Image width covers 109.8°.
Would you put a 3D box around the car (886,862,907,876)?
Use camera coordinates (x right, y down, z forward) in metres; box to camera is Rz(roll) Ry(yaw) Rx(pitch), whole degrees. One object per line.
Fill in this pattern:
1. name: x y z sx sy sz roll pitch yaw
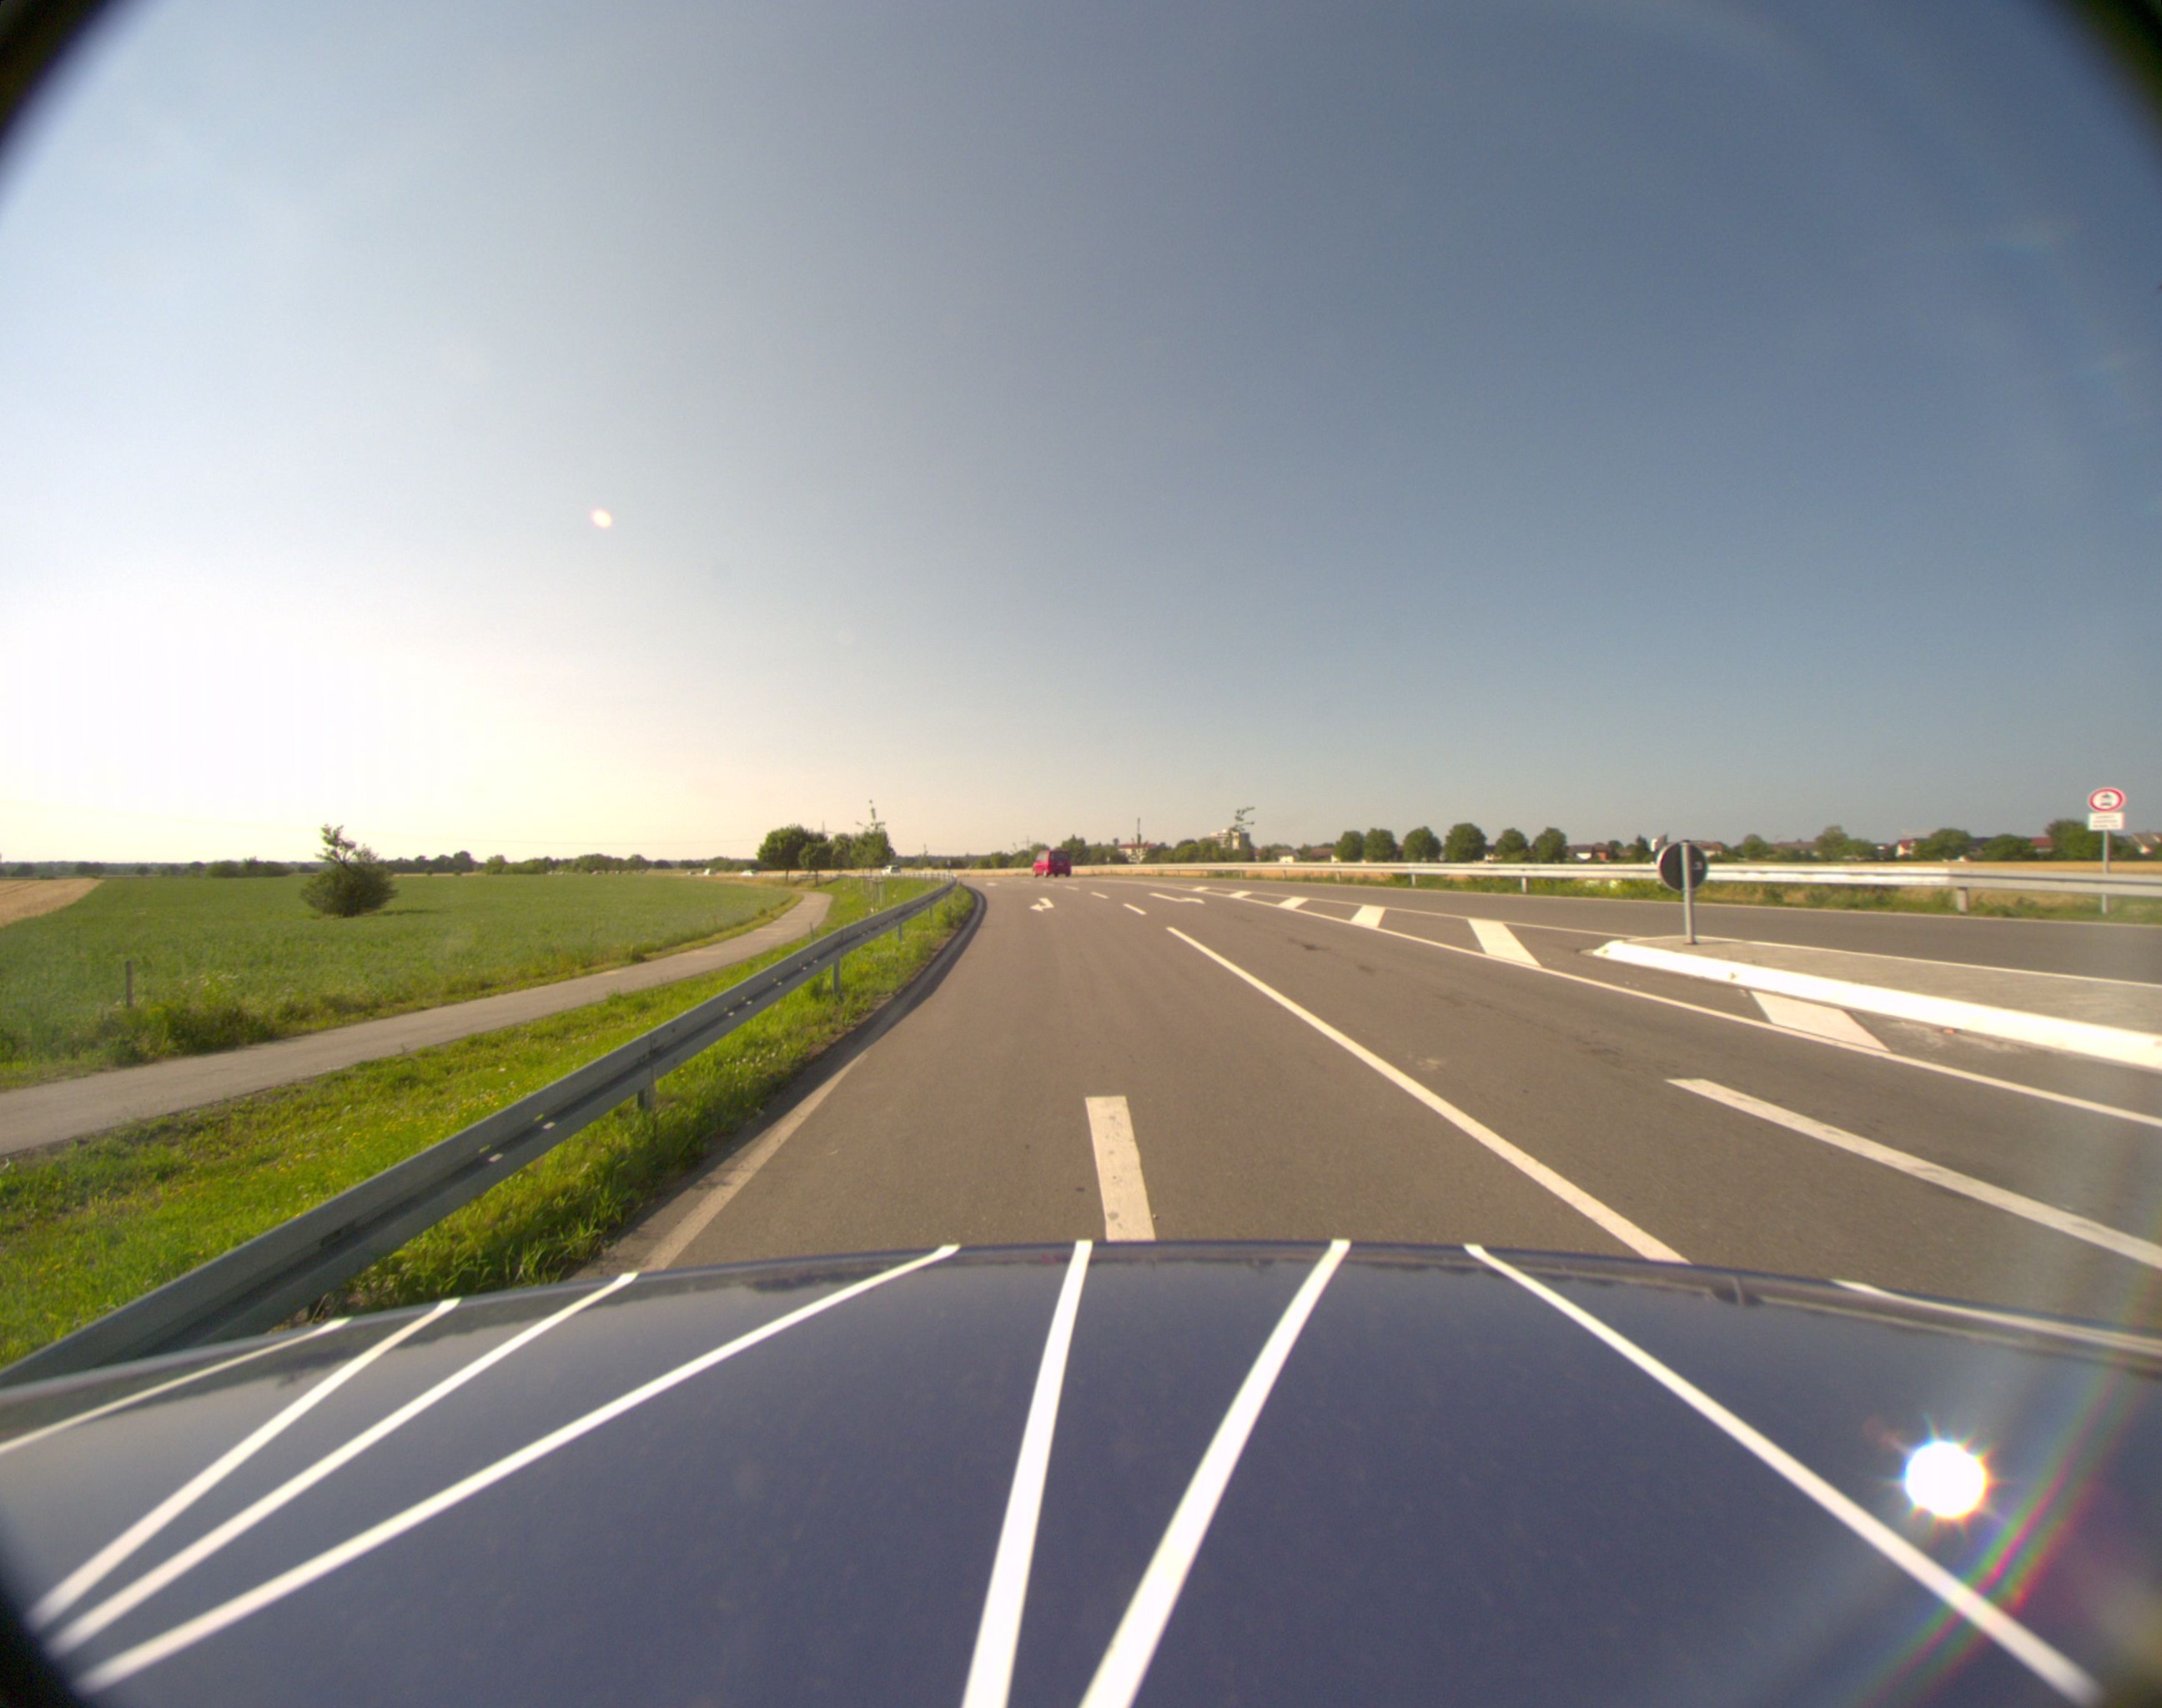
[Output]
1. car: -26.972 2.178 111.149 1.699 1.664 4.850 -3 4 -29

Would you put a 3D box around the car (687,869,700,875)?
1. car: -103.799 4.840 203.431 1.804 1.439 4.694 -2 -3 -45

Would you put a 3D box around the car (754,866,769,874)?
1. car: -71.024 3.578 168.856 2.125 1.484 5.142 -2 -2 -35

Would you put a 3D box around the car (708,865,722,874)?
1. car: -92.157 3.984 191.053 2.125 2.001 5.142 -2 -2 -37

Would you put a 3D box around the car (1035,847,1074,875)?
1. car: -2.060 0.538 57.242 1.840 1.929 4.920 -1 -1 -15
